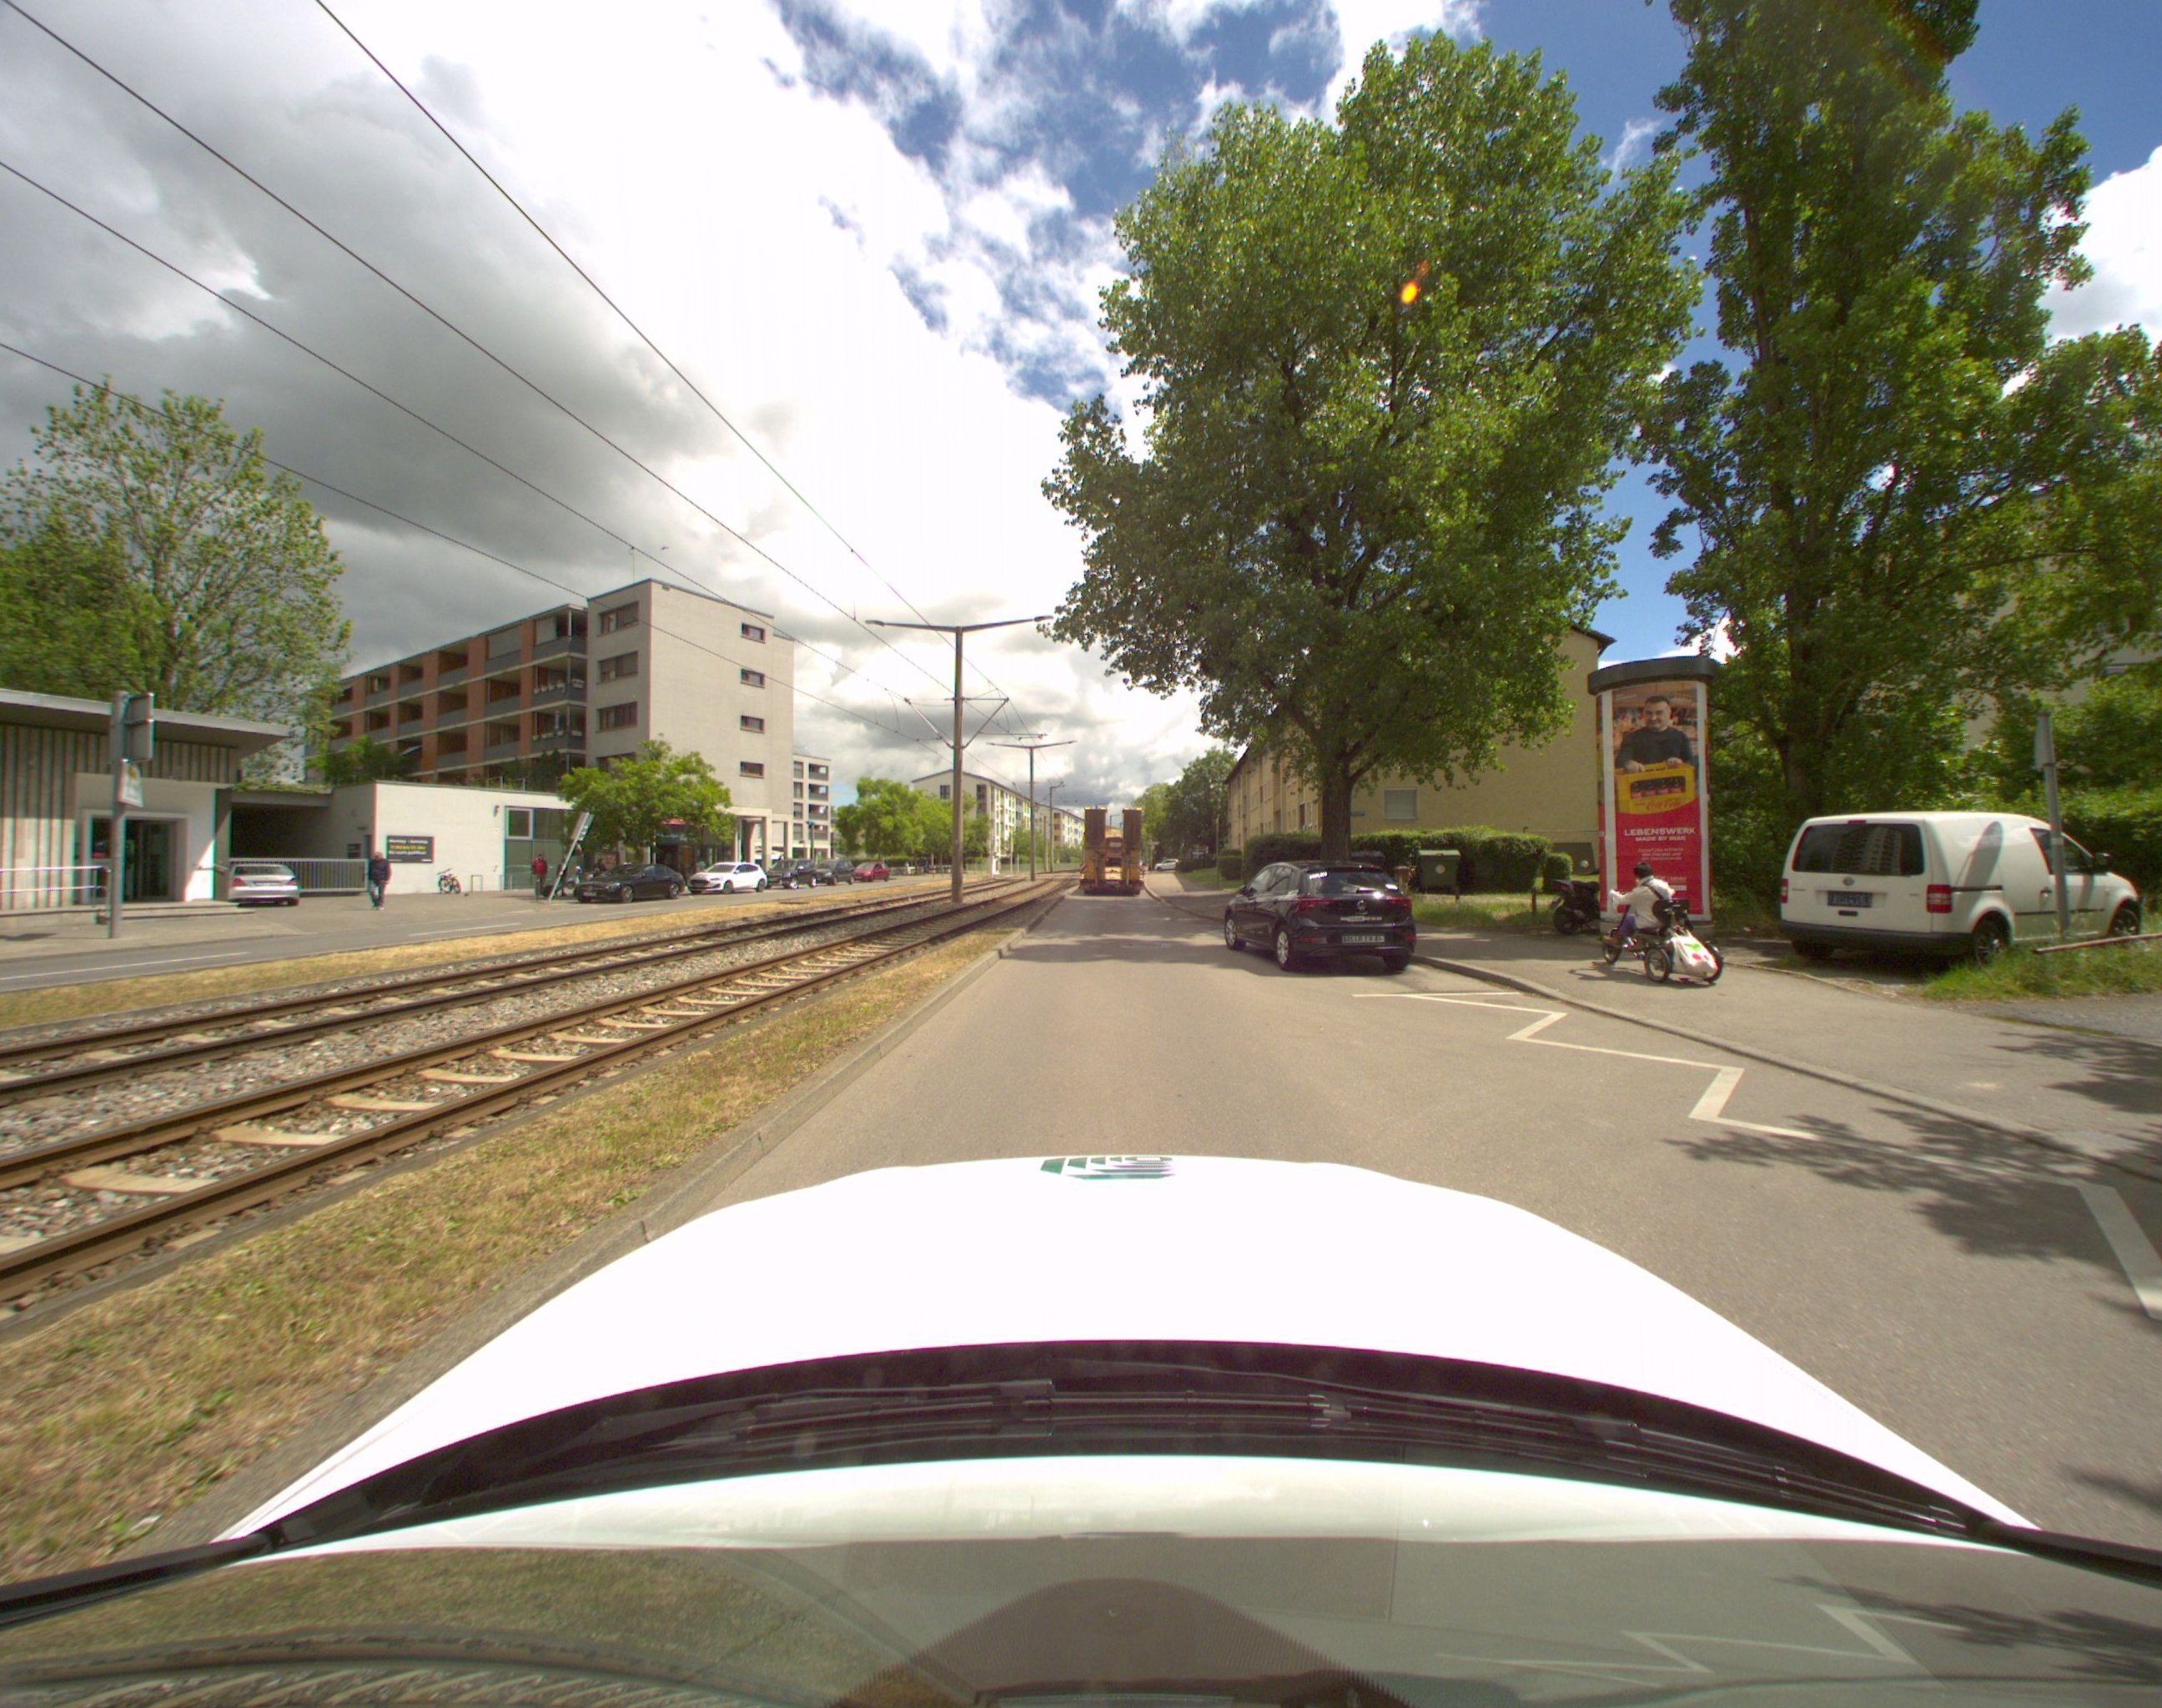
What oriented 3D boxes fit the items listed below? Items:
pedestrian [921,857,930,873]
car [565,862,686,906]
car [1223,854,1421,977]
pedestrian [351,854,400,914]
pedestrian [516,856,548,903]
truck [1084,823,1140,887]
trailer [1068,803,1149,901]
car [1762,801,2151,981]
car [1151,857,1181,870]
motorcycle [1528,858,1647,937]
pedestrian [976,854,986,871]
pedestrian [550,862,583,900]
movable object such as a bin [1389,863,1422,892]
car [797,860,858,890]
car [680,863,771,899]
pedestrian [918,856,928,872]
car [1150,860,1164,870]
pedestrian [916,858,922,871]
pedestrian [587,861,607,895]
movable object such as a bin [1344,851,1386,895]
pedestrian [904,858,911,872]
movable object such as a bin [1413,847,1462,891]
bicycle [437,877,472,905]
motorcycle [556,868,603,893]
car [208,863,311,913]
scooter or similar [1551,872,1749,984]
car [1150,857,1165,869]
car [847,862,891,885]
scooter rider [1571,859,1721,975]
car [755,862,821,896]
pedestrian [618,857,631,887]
[{"bbox_3d":[-15.622,1.122,81.718,0.618,1.573,0.560,-2,0,15],"label":"pedestrian"},{"bbox_3d":[-17.231,1.096,31.088,1.725,1.428,4.389,2,0,7],"label":"car"},{"bbox_3d":[3.341,0.763,12.071,1.809,1.448,3.827,-2,0,0],"label":"car"},{"bbox_3d":[-21.638,0.905,25.000,0.844,1.792,0.867,-2,0,-23],"label":"pedestrian"},{"bbox_3d":[-21.745,1.005,32.269,0.608,1.792,0.844,-2,0,4],"label":"pedestrian"},{"bbox_3d":[1.799,0.016,46.875,2.823,3.330,7.989,-2,0,2],"label":"truck"},{"bbox_3d":[1.316,-0.125,37.787,3.039,3.772,11.619,-2,0,2],"label":"trailer"},{"bbox_3d":[10.678,0.343,9.975,4.000,1.823,1.799,-2,0,-20],"label":"car"},{"bbox_3d":[11.162,1.300,106.523,3.570,1.584,2.008,-2,-1,16],"label":"car"},{"bbox_3d":[8.533,0.702,13.731,1.800,1.210,0.708,-2,0,-19],"label":"motorcycle"},{"bbox_3d":[-10.470,0.882,85.175,0.745,1.661,0.871,-2,0,8],"label":"pedestrian"},{"bbox_3d":[-21.662,1.114,34.290,0.596,1.534,0.977,-2,0,17],"label":"pedestrian"},{"bbox_3d":[10.843,0.791,27.267,0.799,0.915,0.762,-2,0,2],"label":"movable object such as a bin"},{"bbox_3d":[-15.577,1.281,50.288,1.983,1.648,4.108,-2,0,7],"label":"car"},{"bbox_3d":[-16.670,1.217,38.456,1.743,1.475,4.412,-2,0,10],"label":"car"},{"bbox_3d":[-15.672,0.972,80.789,0.618,1.573,0.701,-2,0,15],"label":"pedestrian"},{"bbox_3d":[11.687,1.710,125.571,1.984,1.387,4.005,-2,0,4],"label":"car"},{"bbox_3d":[-15.841,1.002,79.634,0.501,1.267,0.497,-2,0,-19],"label":"pedestrian"},{"bbox_3d":[-22.707,1.124,38.234,0.666,1.573,0.683,-2,0,-23],"label":"pedestrian"},{"bbox_3d":[9.495,0.622,27.248,1.094,1.439,0.762,-2,0,2],"label":"movable object such as a bin"},{"bbox_3d":[-18.992,1.189,89.253,0.539,1.547,0.532,-2,0,25],"label":"pedestrian"},{"bbox_3d":[11.907,0.489,27.247,1.164,1.439,1.058,-2,0,2],"label":"movable object such as a bin"},{"bbox_3d":[-28.243,1.641,36.694,1.948,1.212,0.673,-1,0,35],"label":"bicycle"},{"bbox_3d":[-25.725,1.358,41.788,1.885,1.178,0.742,-2,0,1],"label":"motorcycle"},{"bbox_3d":[-27.159,1.091,26.880,4.300,1.442,2.013,-1,1,40],"label":"car"},{"bbox_3d":[6.584,0.804,9.605,0.886,1.064,2.115,-2,1,2],"label":"scooter or similar"},{"bbox_3d":[11.359,1.282,121.064,1.984,1.618,4.005,-2,0,4],"label":"car"},{"bbox_3d":[-14.852,1.344,57.265,1.603,1.426,3.433,-2,0,11],"label":"car"},{"bbox_3d":[6.576,0.696,9.565,0.882,1.220,1.282,-2,1,2],"label":"scooter rider"},{"bbox_3d":[-15.909,1.332,44.414,1.986,1.662,4.102,0,1,2],"label":"car"},{"bbox_3d":[-23.237,0.912,41.471,0.499,1.460,0.556,-2,0,-23],"label":"pedestrian"}]
